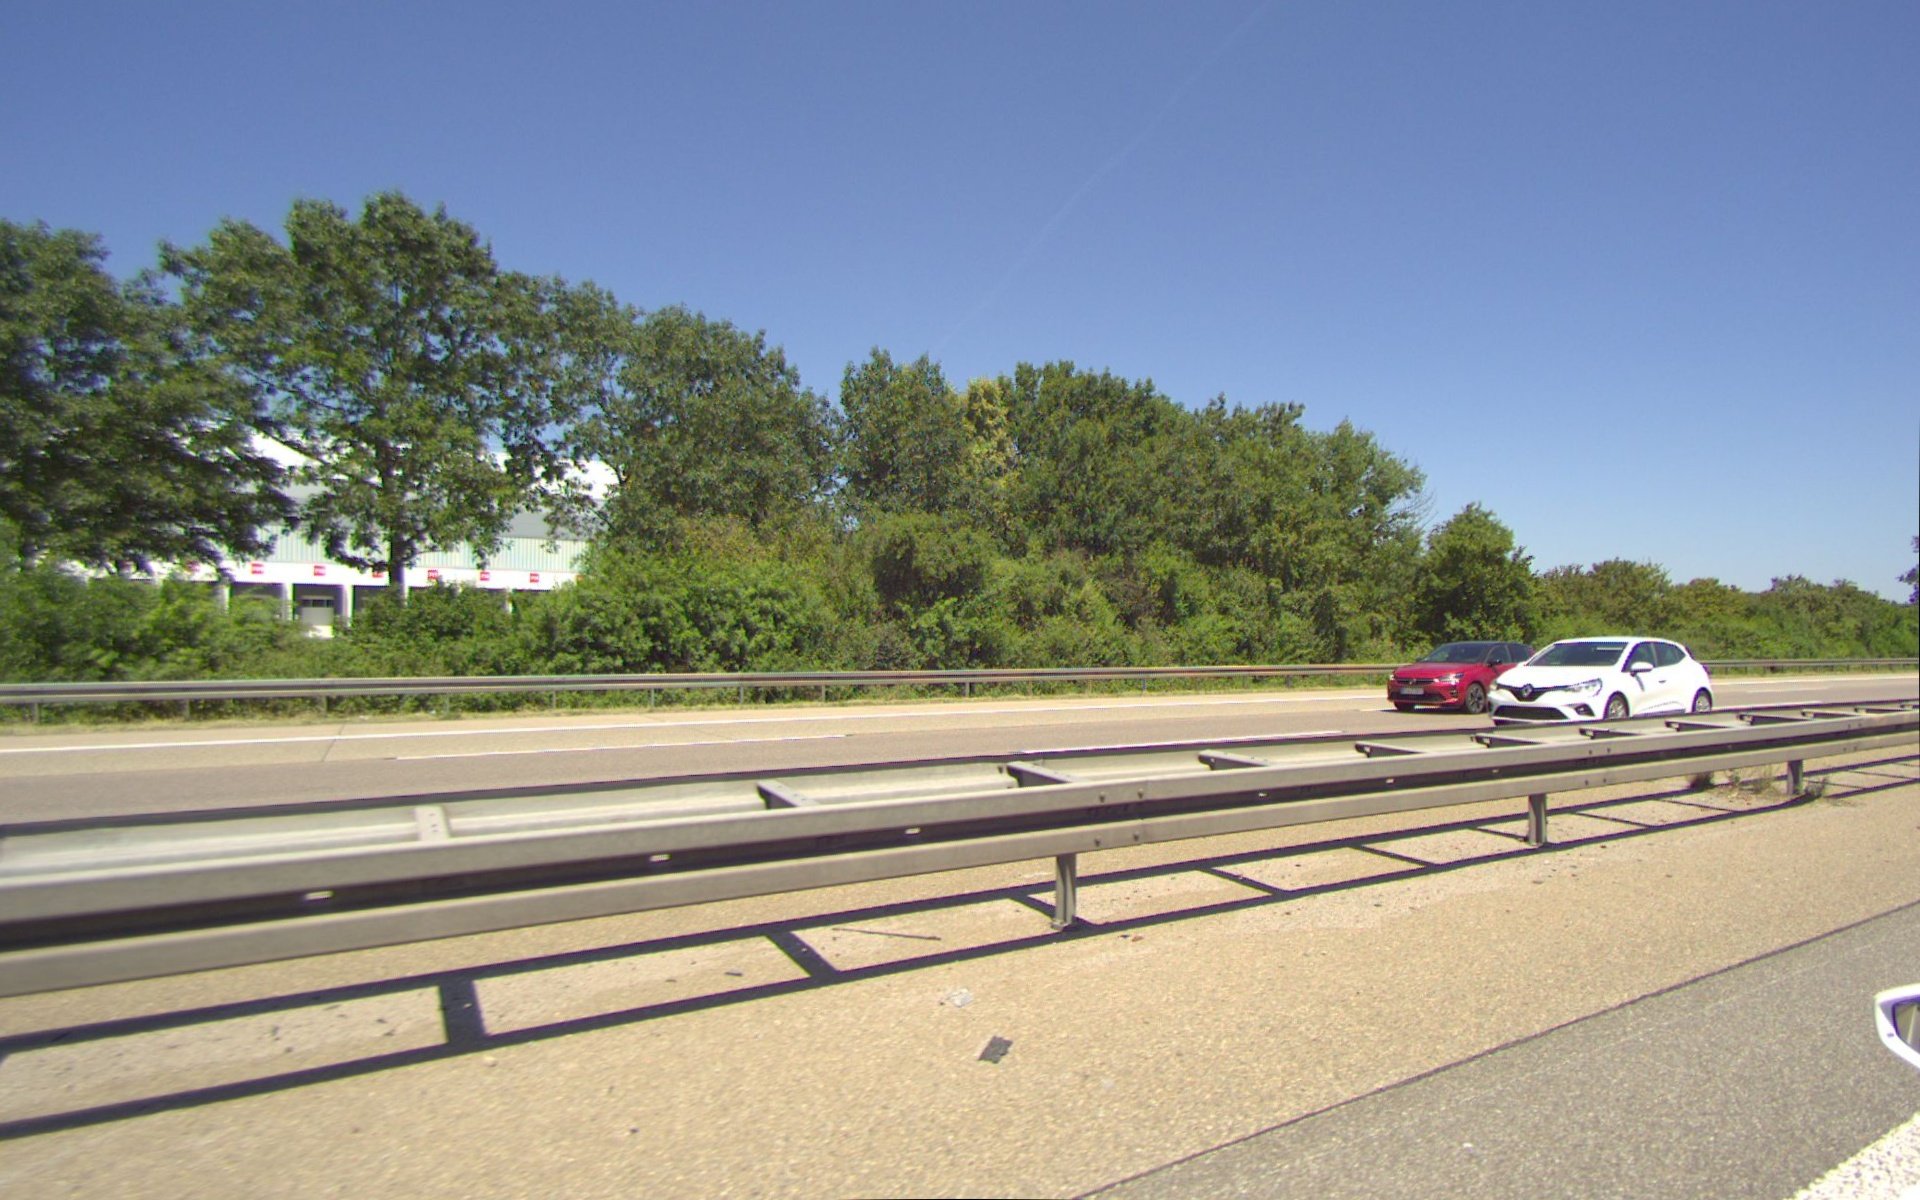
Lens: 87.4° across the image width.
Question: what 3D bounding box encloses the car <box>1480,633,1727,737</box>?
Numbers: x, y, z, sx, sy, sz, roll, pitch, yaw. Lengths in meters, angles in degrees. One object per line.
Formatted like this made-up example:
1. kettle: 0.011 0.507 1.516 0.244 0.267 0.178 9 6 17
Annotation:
1. car: 10.058 1.272 15.655 3.853 1.440 1.711 2 -3 -31

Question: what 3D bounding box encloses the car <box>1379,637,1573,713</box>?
1. car: 10.845 1.513 21.067 4.064 1.436 1.764 1 -3 -32
